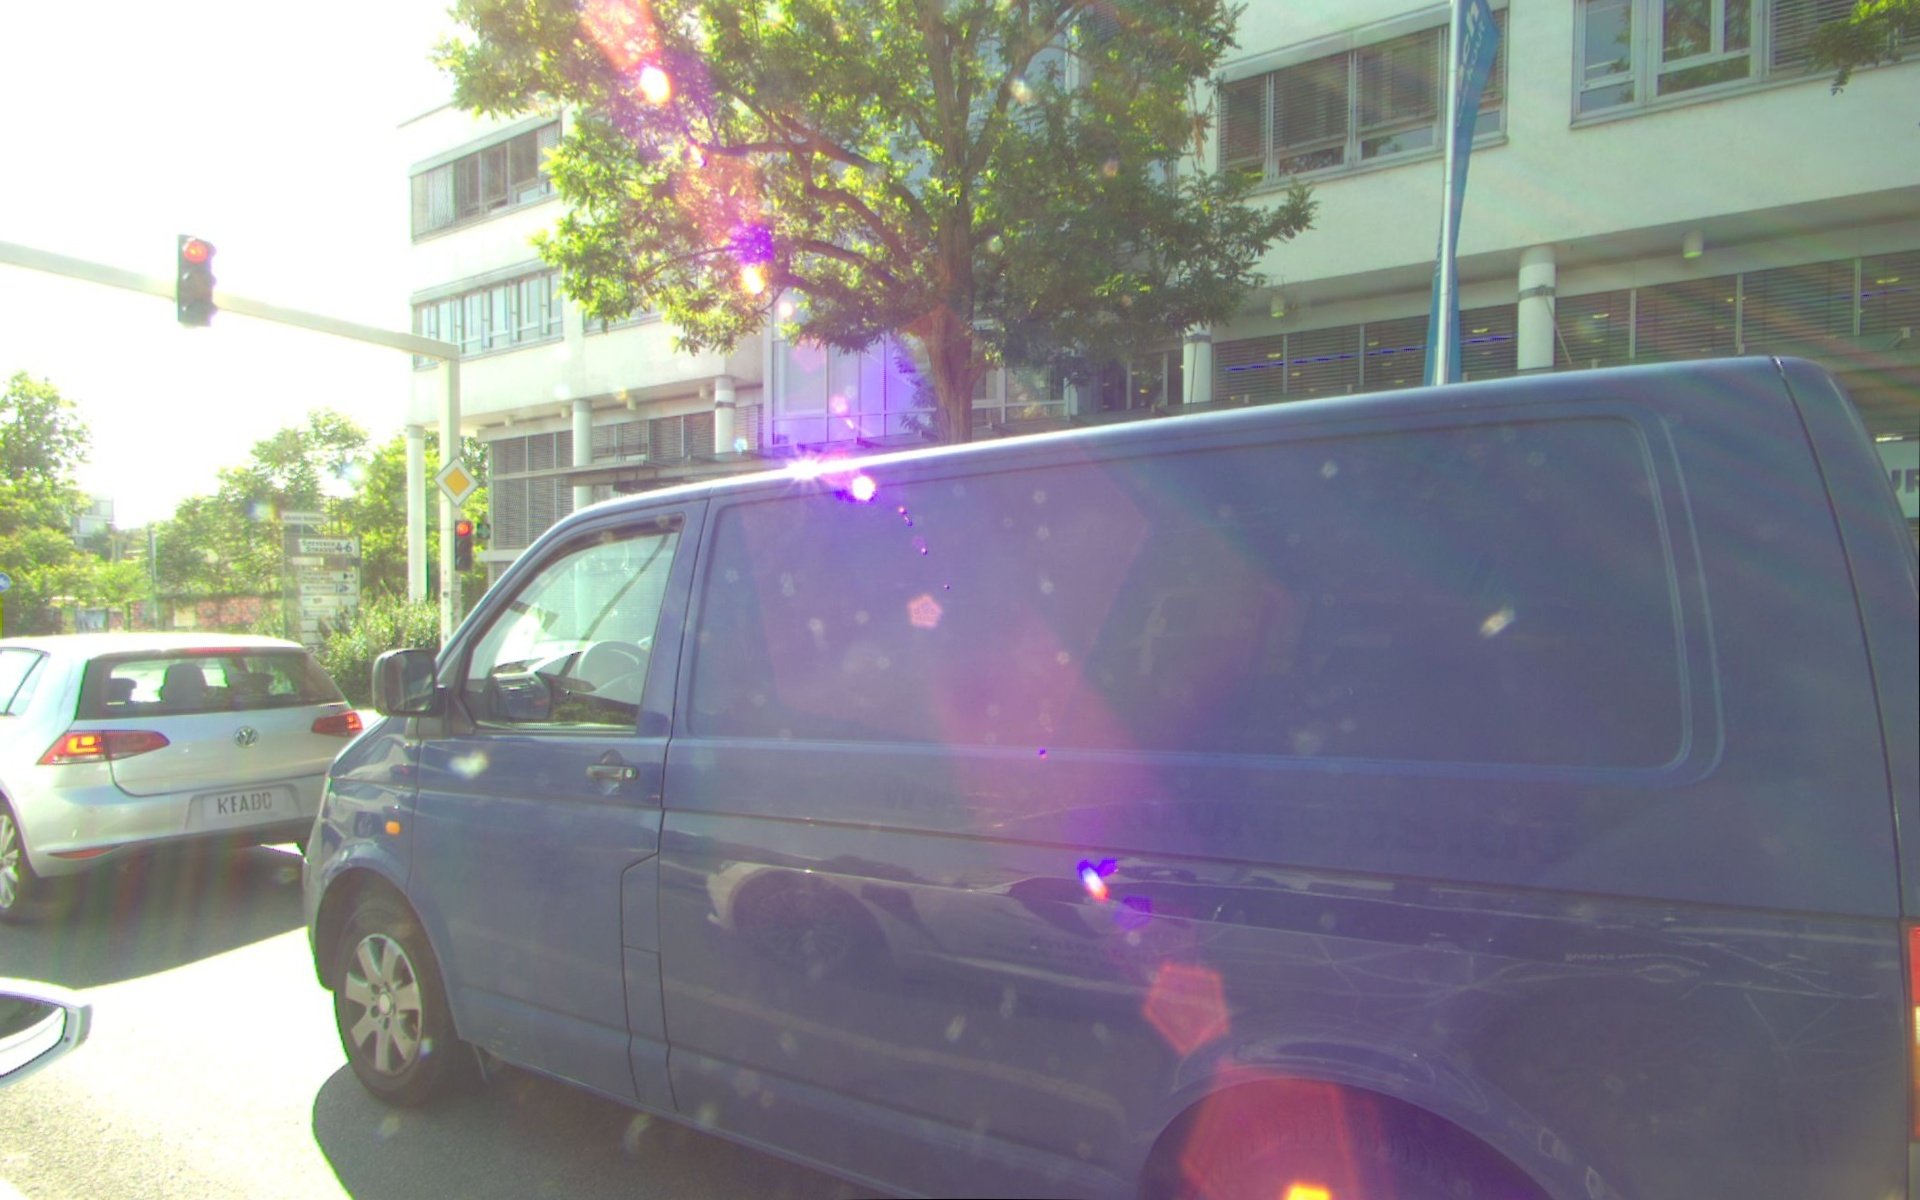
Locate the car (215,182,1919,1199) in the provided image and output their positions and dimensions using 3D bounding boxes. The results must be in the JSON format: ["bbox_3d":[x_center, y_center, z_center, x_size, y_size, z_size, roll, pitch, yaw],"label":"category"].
[{"bbox_3d":[-0.111,0.542,3.167,4.821,1.973,1.989,-1,-1,32],"label":"car"}]

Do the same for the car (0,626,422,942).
[{"bbox_3d":[-5.518,0.924,6.461,3.940,1.448,1.805,-1,-1,30],"label":"car"}]

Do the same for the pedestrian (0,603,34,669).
[{"bbox_3d":[-30.211,1.130,31.729,1.023,2.040,1.025,0,0,32],"label":"pedestrian"}]
